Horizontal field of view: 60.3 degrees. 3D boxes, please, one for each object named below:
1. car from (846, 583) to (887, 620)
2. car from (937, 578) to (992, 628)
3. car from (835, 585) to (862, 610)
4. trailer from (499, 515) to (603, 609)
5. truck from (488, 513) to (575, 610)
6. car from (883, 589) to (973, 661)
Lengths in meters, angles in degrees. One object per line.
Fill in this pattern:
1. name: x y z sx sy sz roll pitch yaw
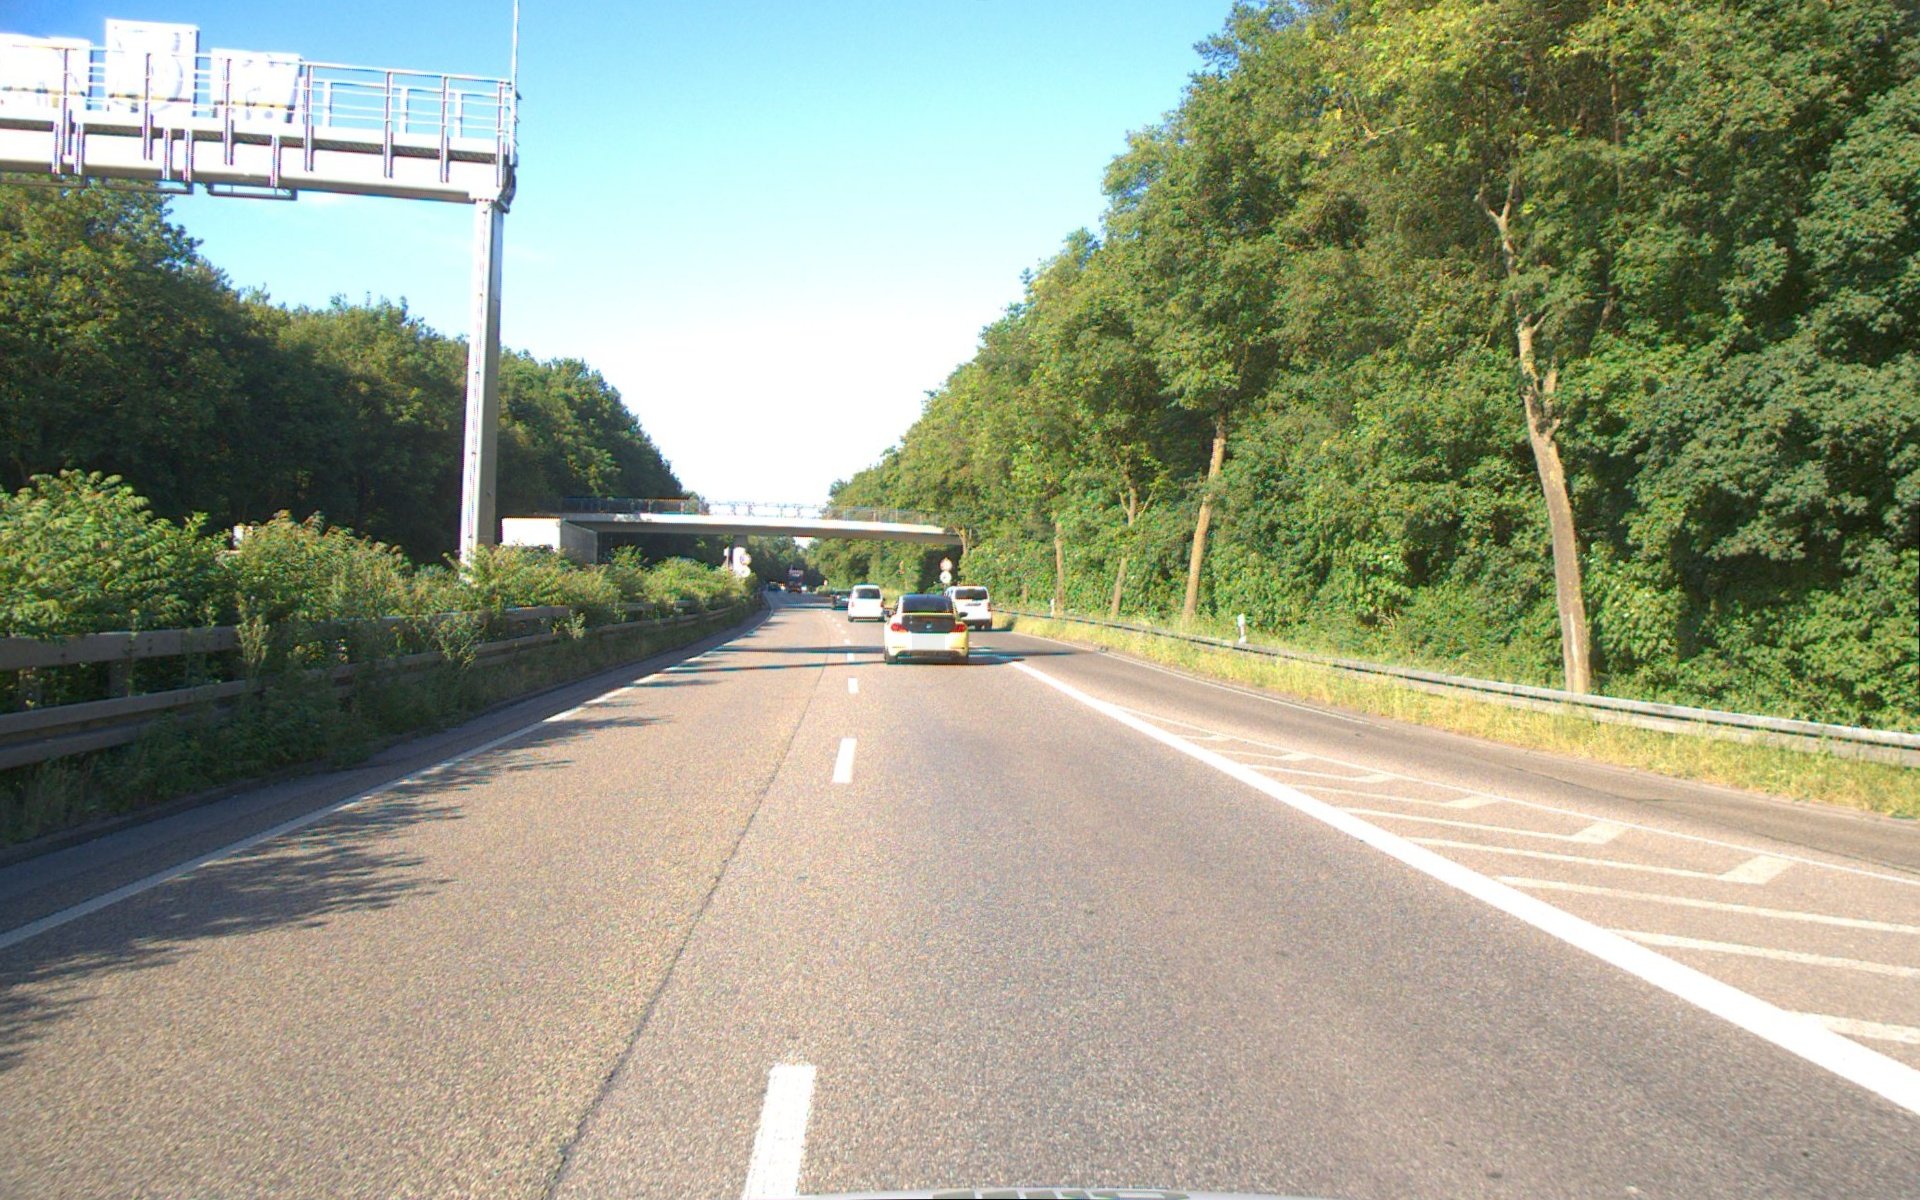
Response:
1. car: -4.691 0.055 82.752 1.860 1.798 3.995 0 0 -6
2. car: 0.152 0.107 66.417 1.860 1.855 3.997 3 0 -4
3. car: -8.222 -0.183 121.869 1.860 1.798 3.996 0 0 -5
4. trailer: -19.717 -1.737 80.663 2.685 4.097 14.060 2 0 -5
5. truck: -19.143 -1.681 74.235 2.685 4.097 6.173 2 0 -5
6. car: -0.761 0.515 36.391 1.859 1.496 3.998 0 0 -3
